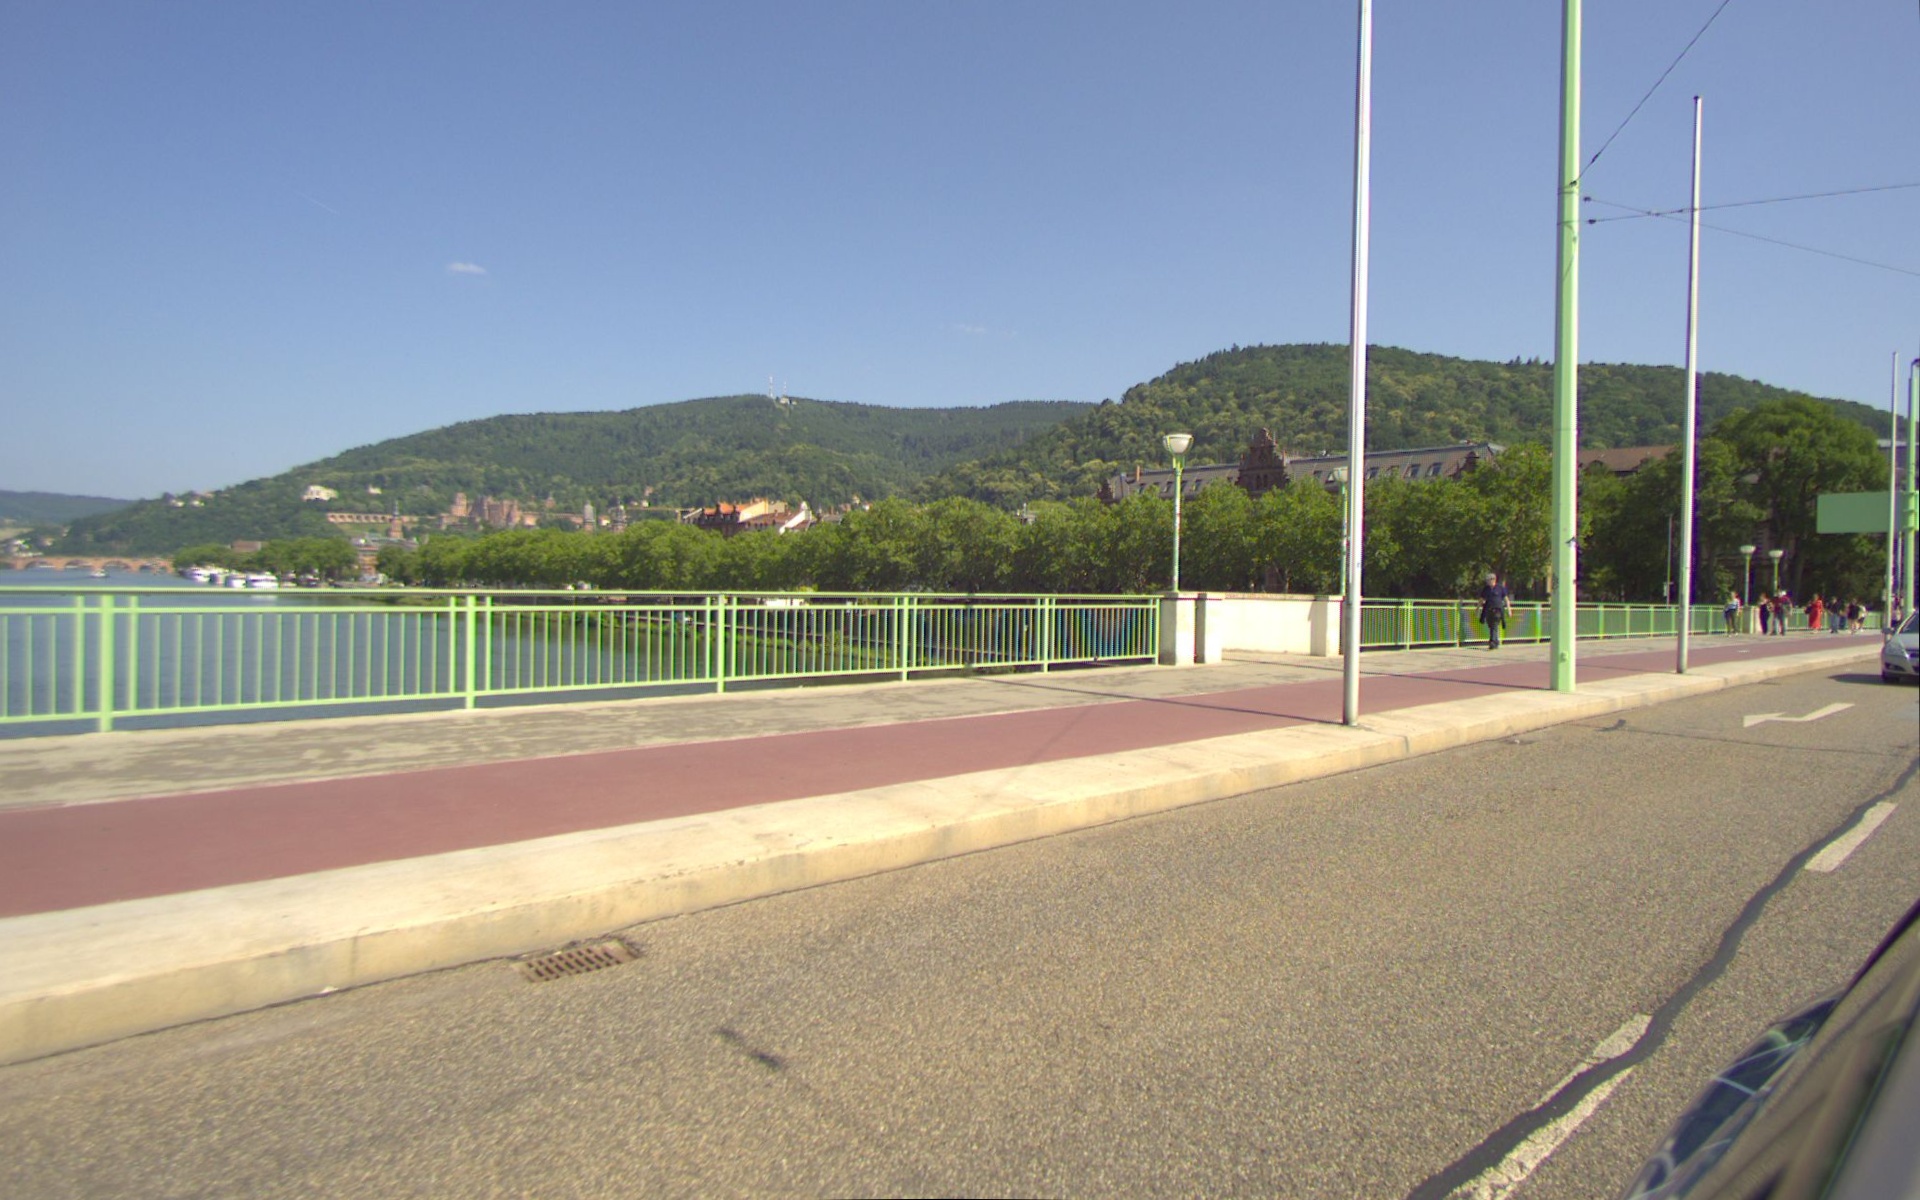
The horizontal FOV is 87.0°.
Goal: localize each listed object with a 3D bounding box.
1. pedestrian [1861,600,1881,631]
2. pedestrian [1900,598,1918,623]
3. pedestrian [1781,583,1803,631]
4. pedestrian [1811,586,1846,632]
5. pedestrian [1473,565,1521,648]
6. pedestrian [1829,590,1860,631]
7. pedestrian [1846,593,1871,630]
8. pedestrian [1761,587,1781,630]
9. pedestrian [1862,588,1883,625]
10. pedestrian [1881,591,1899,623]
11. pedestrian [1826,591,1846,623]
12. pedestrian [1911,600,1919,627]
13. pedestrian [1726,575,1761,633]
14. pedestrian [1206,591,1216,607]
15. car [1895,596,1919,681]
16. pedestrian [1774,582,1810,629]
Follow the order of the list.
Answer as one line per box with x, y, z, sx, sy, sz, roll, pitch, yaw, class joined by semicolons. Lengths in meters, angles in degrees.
47.878;0.820;53.204;0.679;1.582;0.651;2;1;-40;pedestrian
62.369;0.689;66.497;0.799;1.655;0.934;2;1;45;pedestrian
31.951;0.261;38.876;0.585;1.816;0.622;2;1;44;pedestrian
38.139;0.370;44.439;0.923;1.978;1.016;0;1;-43;pedestrian
11.773;0.135;22.180;0.654;1.766;0.963;2;-1;44;pedestrian
40.788;0.483;46.666;0.985;1.791;1.234;3;1;43;pedestrian
42.621;0.545;48.009;0.834;1.698;0.872;2;1;43;pedestrian
31.540;0.321;39.353;0.523;1.670;0.688;2;1;43;pedestrian
41.249;0.282;45.751;0.654;1.670;0.854;2;1;43;pedestrian
59.522;0.443;64.777;0.803;2.039;0.939;2;1;43;pedestrian
45.050;0.348;52.038;0.679;1.652;0.651;1;-1;-40;pedestrian
60.061;0.840;63.186;0.985;1.635;0.907;2;1;44;pedestrian
28.027;0.120;36.188;0.874;2.039;1.042;2;1;43;pedestrian
27.374;-0.125;110.417;0.740;1.798;0.666;0;-1;44;pedestrian
19.314;0.722;19.319;4.420;1.520;1.800;1;0;-43;car
34.805;0.219;42.350;1.233;1.918;0.986;0;1;-43;pedestrian
